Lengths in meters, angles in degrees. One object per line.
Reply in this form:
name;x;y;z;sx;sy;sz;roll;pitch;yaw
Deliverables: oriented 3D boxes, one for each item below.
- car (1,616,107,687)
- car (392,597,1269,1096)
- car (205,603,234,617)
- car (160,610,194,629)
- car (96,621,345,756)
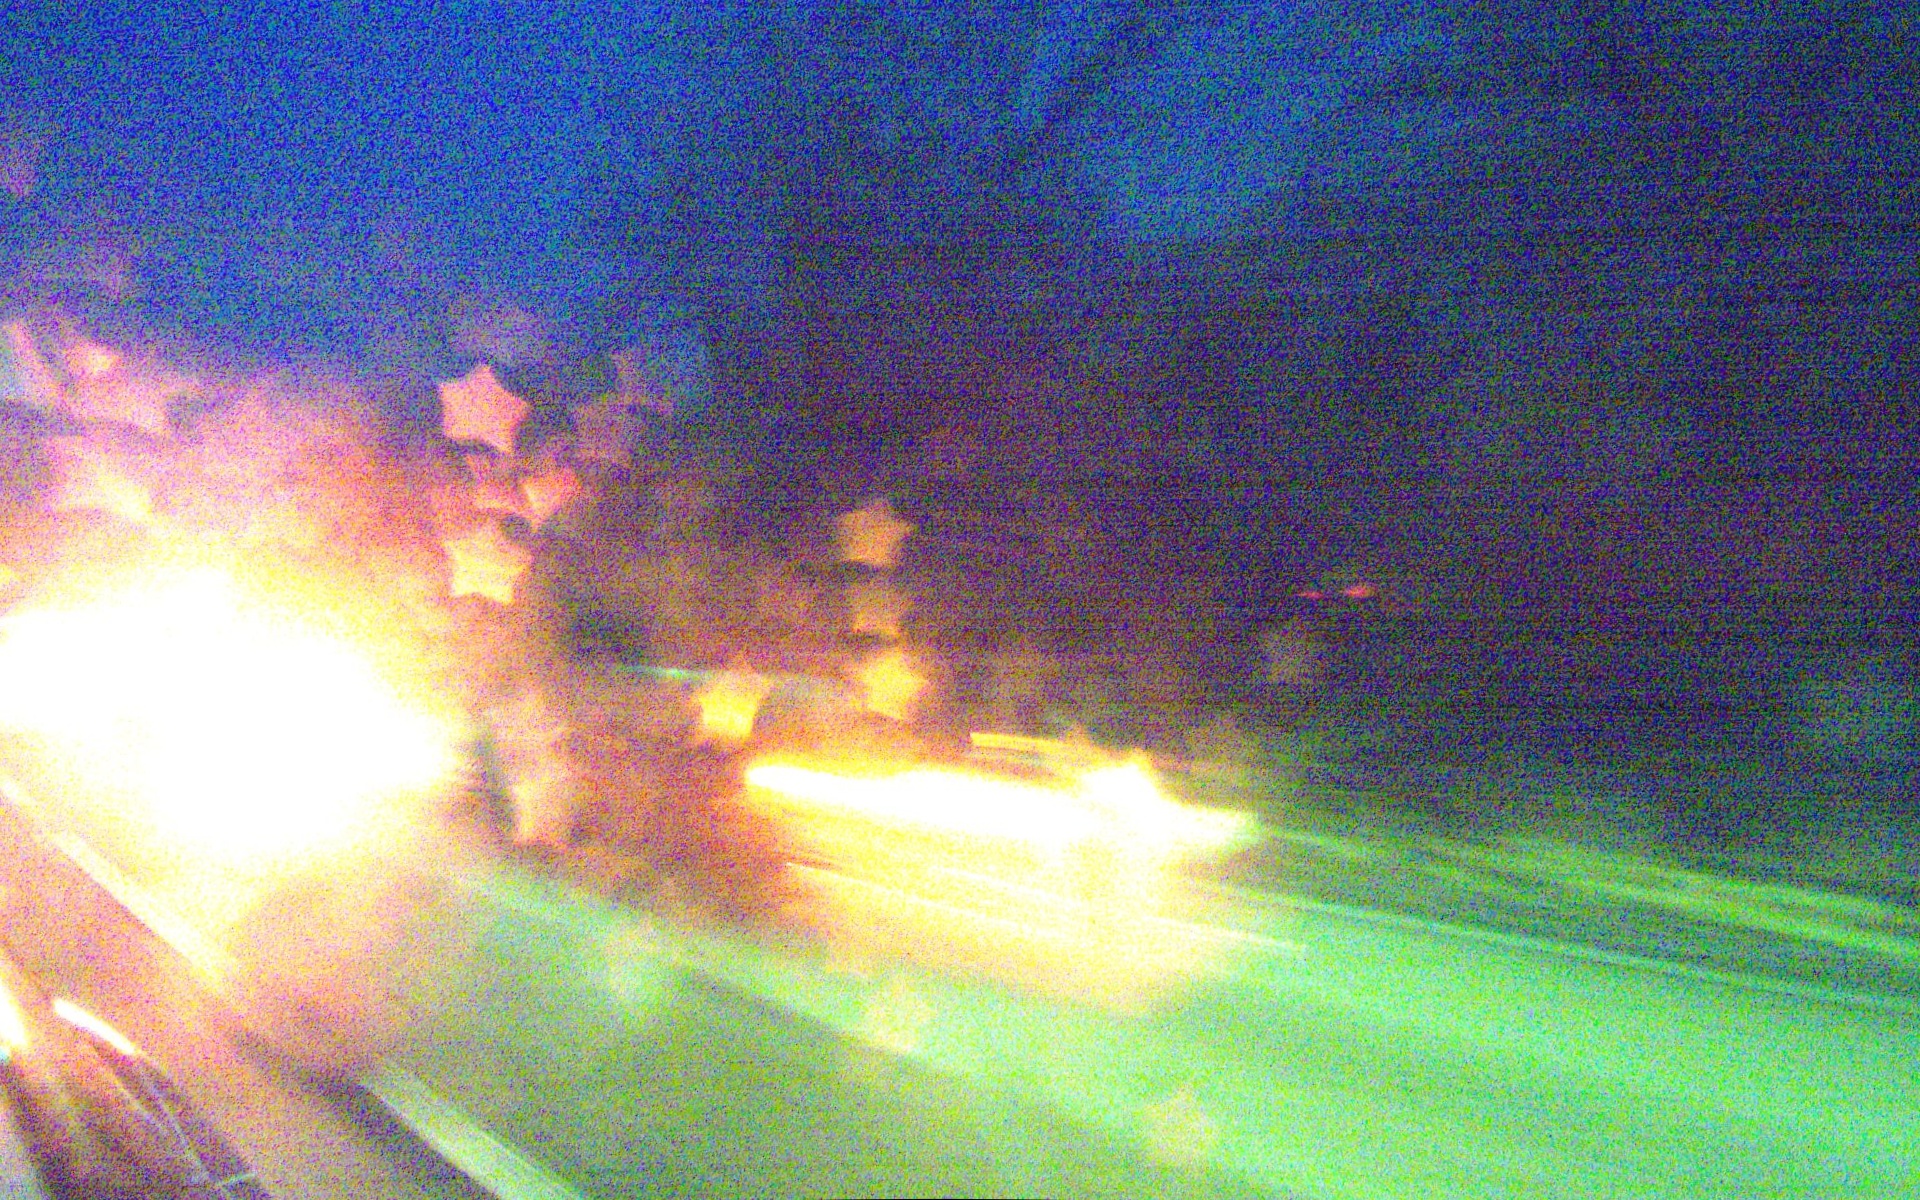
car;-21.636;1.153;24.176;1.750;1.495;4.386;-1;0;-42
car;-0.899;0.718;4.874;4.227;1.399;1.754;-1;0;39
car;-90.854;1.208;124.241;1.903;1.596;5.001;2;-1;-25
car;-75.628;1.847;97.834;1.966;1.721;4.999;2;-1;-31
car;-9.556;1.001;12.958;4.111;1.399;1.753;-1;0;42
